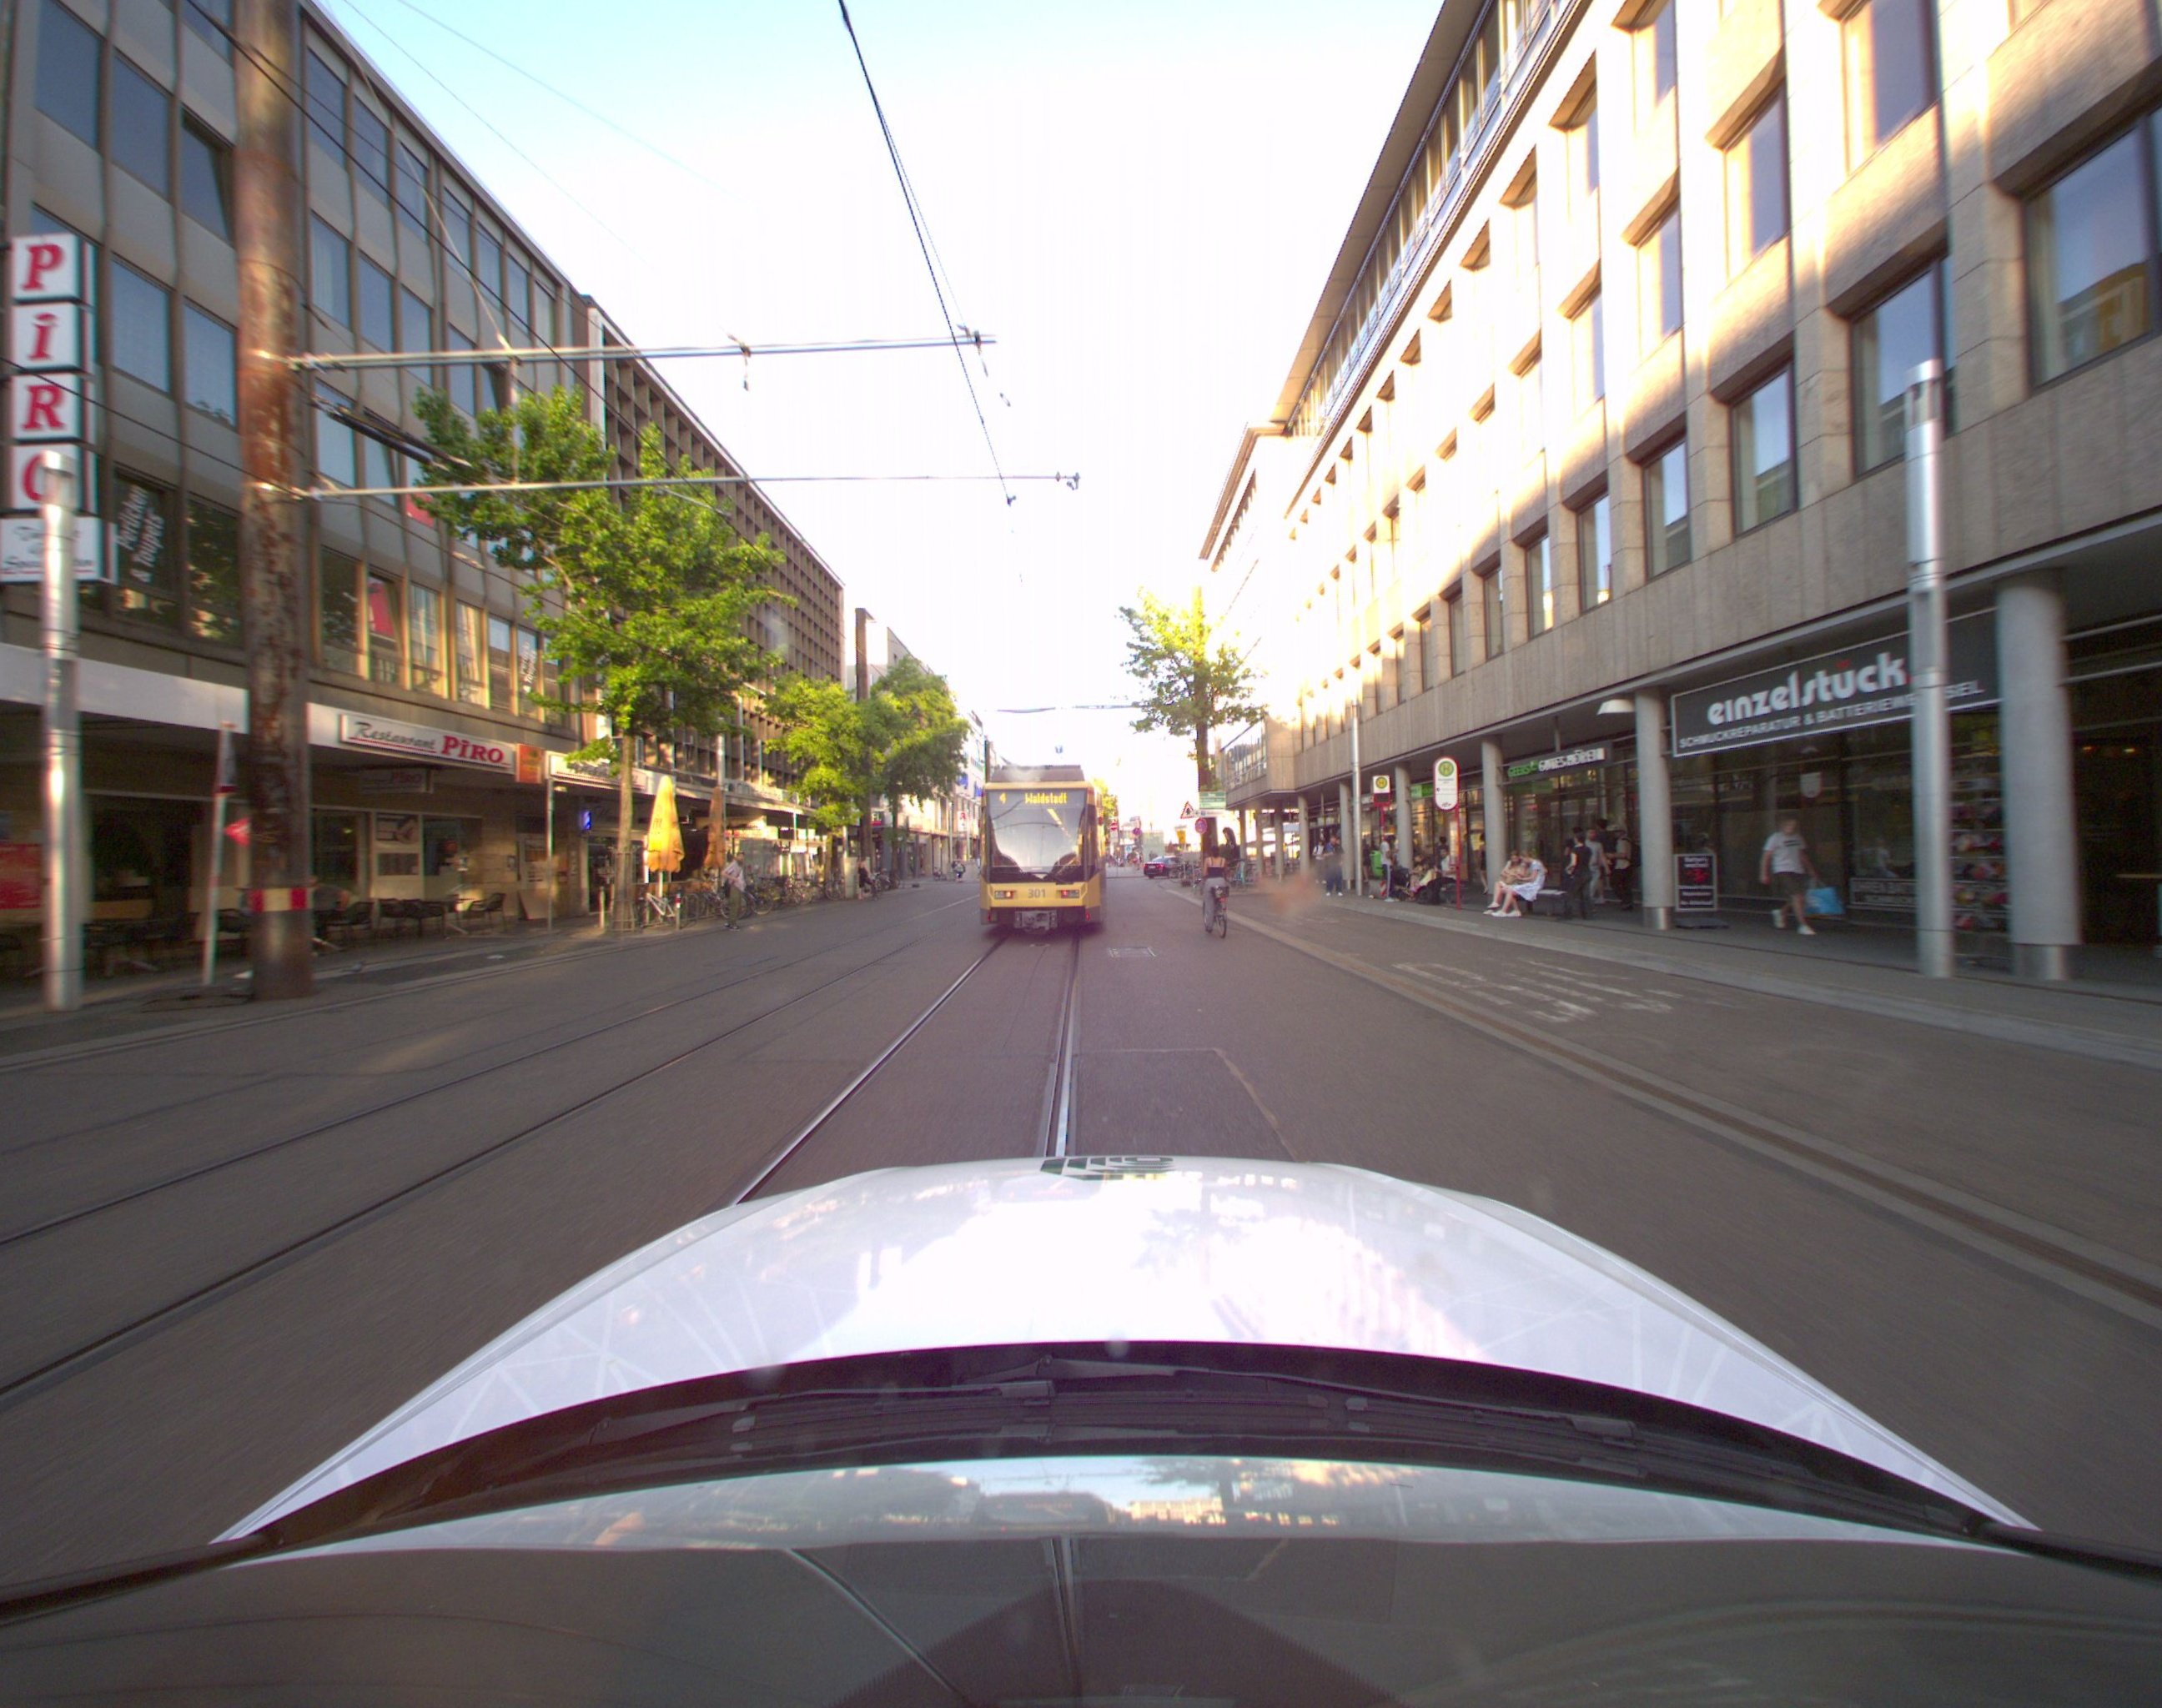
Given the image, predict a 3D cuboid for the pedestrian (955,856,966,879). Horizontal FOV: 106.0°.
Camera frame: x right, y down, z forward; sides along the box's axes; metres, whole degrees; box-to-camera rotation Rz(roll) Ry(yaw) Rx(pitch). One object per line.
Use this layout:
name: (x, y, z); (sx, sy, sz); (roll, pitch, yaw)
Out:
pedestrian: (-8.591, 0.960, 57.955); (0.682, 1.542, 0.605); (-2, -1, -2)

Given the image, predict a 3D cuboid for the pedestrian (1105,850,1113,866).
pedestrian: (3.191, 0.472, 93.301); (0.734, 1.823, 0.816); (-1, 0, -14)

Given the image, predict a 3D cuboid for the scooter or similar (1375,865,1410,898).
scooter or similar: (8.566, 0.743, 22.392); (0.827, 0.884, 0.689); (0, -1, 14)

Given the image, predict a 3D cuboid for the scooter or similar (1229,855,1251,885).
scooter or similar: (6.905, 0.695, 35.367); (0.388, 1.251, 1.199); (-2, 0, 39)

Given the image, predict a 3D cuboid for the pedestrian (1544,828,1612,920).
pedestrian: (8.933, 0.353, 14.664); (0.721, 1.570, 0.736); (-3, -1, 2)

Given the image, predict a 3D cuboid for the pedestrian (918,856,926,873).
pedestrian: (-16.326, 1.119, 83.571); (0.711, 1.725, 0.709); (-2, -1, -1)

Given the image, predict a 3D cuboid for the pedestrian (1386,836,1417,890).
pedestrian: (10.044, 0.278, 25.524); (0.646, 1.661, 0.650); (-2, 0, 1)

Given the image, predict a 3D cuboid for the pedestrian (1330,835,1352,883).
pedestrian: (9.867, 0.185, 30.915); (0.537, 1.806, 0.604); (-2, -1, -1)

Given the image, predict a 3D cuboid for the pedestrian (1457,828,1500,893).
pedestrian: (11.326, 0.190, 23.208); (0.770, 1.772, 0.774); (-2, -1, -1)

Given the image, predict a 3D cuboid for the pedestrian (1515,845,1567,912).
pedestrian: (9.292, 0.486, 16.466); (0.715, 1.314, 0.532); (-1, -1, 2)

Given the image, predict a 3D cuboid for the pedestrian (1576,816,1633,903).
pedestrian: (11.647, 0.122, 18.137); (0.685, 1.883, 0.773); (-2, -1, -1)

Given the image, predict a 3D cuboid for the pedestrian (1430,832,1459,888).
pedestrian: (11.449, 0.184, 25.641); (0.568, 1.731, 0.617); (-2, -1, -1)

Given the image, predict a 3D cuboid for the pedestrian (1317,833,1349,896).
pedestrian: (7.577, 0.314, 24.483); (0.666, 1.839, 0.708); (-2, -1, 0)

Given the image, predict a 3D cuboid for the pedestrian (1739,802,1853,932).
pedestrian: (10.414, 0.191, 11.899); (0.841, 1.797, 0.859); (-2, -1, 1)

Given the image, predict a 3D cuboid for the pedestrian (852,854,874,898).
pedestrian: (-8.622, 0.856, 32.237); (0.595, 1.699, 0.539); (-1, 0, 29)

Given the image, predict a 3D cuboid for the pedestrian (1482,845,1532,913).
pedestrian: (8.553, 0.496, 16.354); (0.715, 1.314, 0.532); (-1, -1, 2)

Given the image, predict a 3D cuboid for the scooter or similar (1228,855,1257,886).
scooter or similar: (6.899, 0.703, 34.785); (1.195, 1.251, 0.389); (-3, 0, -29)

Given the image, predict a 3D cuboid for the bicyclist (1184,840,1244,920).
bicyclist: (2.556, 0.494, 15.718); (0.994, 1.502, 0.856); (0, 0, -2)

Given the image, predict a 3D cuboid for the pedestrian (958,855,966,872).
pedestrian: (-11.831, 0.934, 81.009); (0.711, 1.725, 0.709); (-2, -1, -1)

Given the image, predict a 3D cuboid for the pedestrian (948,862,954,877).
pedestrian: (-13.298, 1.591, 83.349); (0.508, 1.547, 0.516); (-2, -1, -8)

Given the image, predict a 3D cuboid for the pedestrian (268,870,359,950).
pedestrian: (-13.286, 0.956, 14.131); (0.668, 1.325, 0.912); (1, -1, -1)

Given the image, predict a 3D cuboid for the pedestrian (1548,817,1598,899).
pedestrian: (10.985, 0.087, 18.204); (0.580, 1.753, 0.773); (-2, -1, -1)

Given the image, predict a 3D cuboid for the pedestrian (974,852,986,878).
pedestrian: (-7.397, 0.801, 59.729); (0.772, 1.926, 0.707); (-2, -1, -8)

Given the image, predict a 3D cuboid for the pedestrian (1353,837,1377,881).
pedestrian: (11.721, 0.196, 33.605); (0.660, 1.787, 0.719); (-2, -1, 1)

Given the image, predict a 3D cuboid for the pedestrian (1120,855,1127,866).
pedestrian: (5.023, 0.792, 96.355); (0.790, 1.221, 0.768); (-1, 0, -3)

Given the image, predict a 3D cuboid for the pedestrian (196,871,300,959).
pedestrian: (-13.196, 0.948, 12.936); (0.668, 1.325, 0.912); (1, -1, -1)

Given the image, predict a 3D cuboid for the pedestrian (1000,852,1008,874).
pedestrian: (-6.953, 0.820, 73.484); (0.712, 1.925, 0.708); (-2, -1, -5)

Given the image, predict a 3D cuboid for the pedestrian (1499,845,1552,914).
pedestrian: (8.625, 0.491, 15.821); (0.715, 1.314, 0.524); (-1, -1, 2)

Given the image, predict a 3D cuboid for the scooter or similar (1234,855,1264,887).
scooter or similar: (6.992, 0.708, 33.930); (1.119, 1.251, 0.492); (-3, 0, -30)

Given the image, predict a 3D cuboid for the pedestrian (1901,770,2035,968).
pedestrian: (9.162, 0.150, 8.437); (0.576, 1.944, 0.655); (-2, -1, 0)

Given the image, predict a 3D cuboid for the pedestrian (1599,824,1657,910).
pedestrian: (10.895, 0.249, 16.243); (0.645, 1.661, 0.681); (-2, 0, 2)

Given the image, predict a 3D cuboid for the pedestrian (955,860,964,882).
pedestrian: (-8.524, 1.187, 57.131); (0.603, 1.494, 0.554); (-2, -1, -8)

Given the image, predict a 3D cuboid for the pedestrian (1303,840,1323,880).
pedestrian: (10.615, 0.274, 37.264); (0.660, 1.787, 0.719); (-2, -1, 1)

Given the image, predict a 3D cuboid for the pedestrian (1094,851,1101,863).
pedestrian: (2.303, 0.389, 113.100); (0.761, 1.661, 0.797); (-2, 0, 12)

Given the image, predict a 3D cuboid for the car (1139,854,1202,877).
car: (5.834, 0.724, 52.814); (4.074, 1.409, 1.754); (0, -2, -42)

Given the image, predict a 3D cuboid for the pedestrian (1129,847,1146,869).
pedestrian: (4.902, 0.355, 70.821); (1.018, 1.863, 1.034); (-1, -1, -25)

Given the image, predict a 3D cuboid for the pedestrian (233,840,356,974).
pedestrian: (-11.058, 0.717, 11.483); (0.681, 1.793, 0.992); (1, -1, 6)

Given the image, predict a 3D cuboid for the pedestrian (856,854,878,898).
pedestrian: (-8.356, 0.847, 31.796); (0.595, 1.699, 0.539); (-1, 0, 29)

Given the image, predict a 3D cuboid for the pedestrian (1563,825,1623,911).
pedestrian: (10.215, 0.271, 16.279); (0.685, 1.661, 0.722); (-3, -1, 2)
